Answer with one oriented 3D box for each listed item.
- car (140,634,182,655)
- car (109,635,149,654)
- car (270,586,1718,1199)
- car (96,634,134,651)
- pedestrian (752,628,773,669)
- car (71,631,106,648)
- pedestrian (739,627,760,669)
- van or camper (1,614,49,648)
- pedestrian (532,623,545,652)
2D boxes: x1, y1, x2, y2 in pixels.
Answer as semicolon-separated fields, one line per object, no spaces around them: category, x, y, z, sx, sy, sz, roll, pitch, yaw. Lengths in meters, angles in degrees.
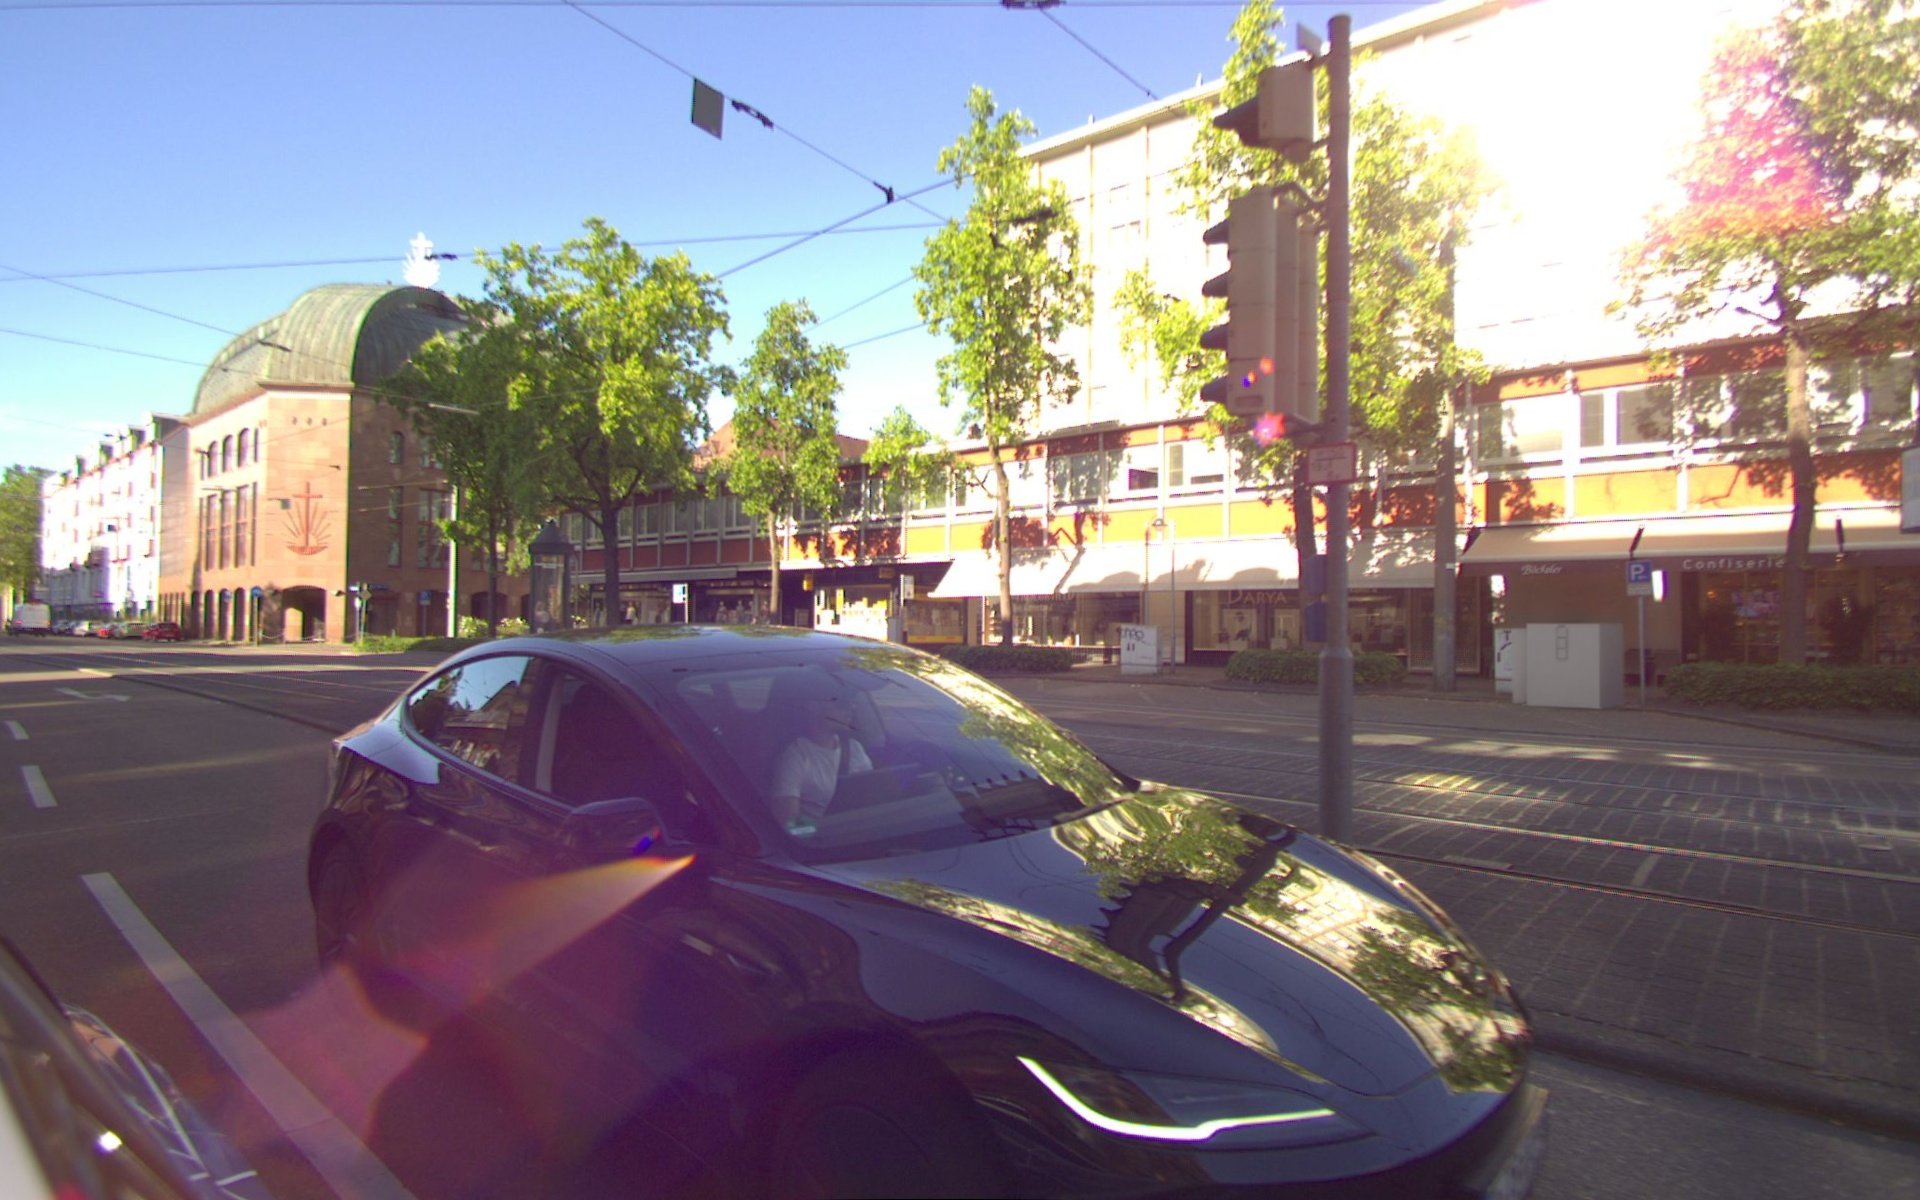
car;-58.612;3.264;74.232;3.468;1.465;1.731;-1;-2;39
car;-66.102;3.523;80.519;3.851;1.465;1.832;-1;-2;41
car;-0.375;0.729;3.045;4.151;1.434;1.792;-1;-1;40
car;-69.881;3.472;83.682;3.851;1.364;1.832;-1;-2;41
pedestrian;-8.593;2.113;44.056;0.706;1.764;0.566;-1;-3;42
car;-78.484;3.513;91.112;3.851;1.465;1.832;-1;-2;41
pedestrian;-9.049;2.038;43.509;0.706;1.785;0.566;-1;-3;42
van or camper;-78.711;2.624;85.152;7.015;2.760;2.015;-1;-3;41
pedestrian;-23.326;2.070;55.996;0.440;1.604;0.723;3;-3;-40
